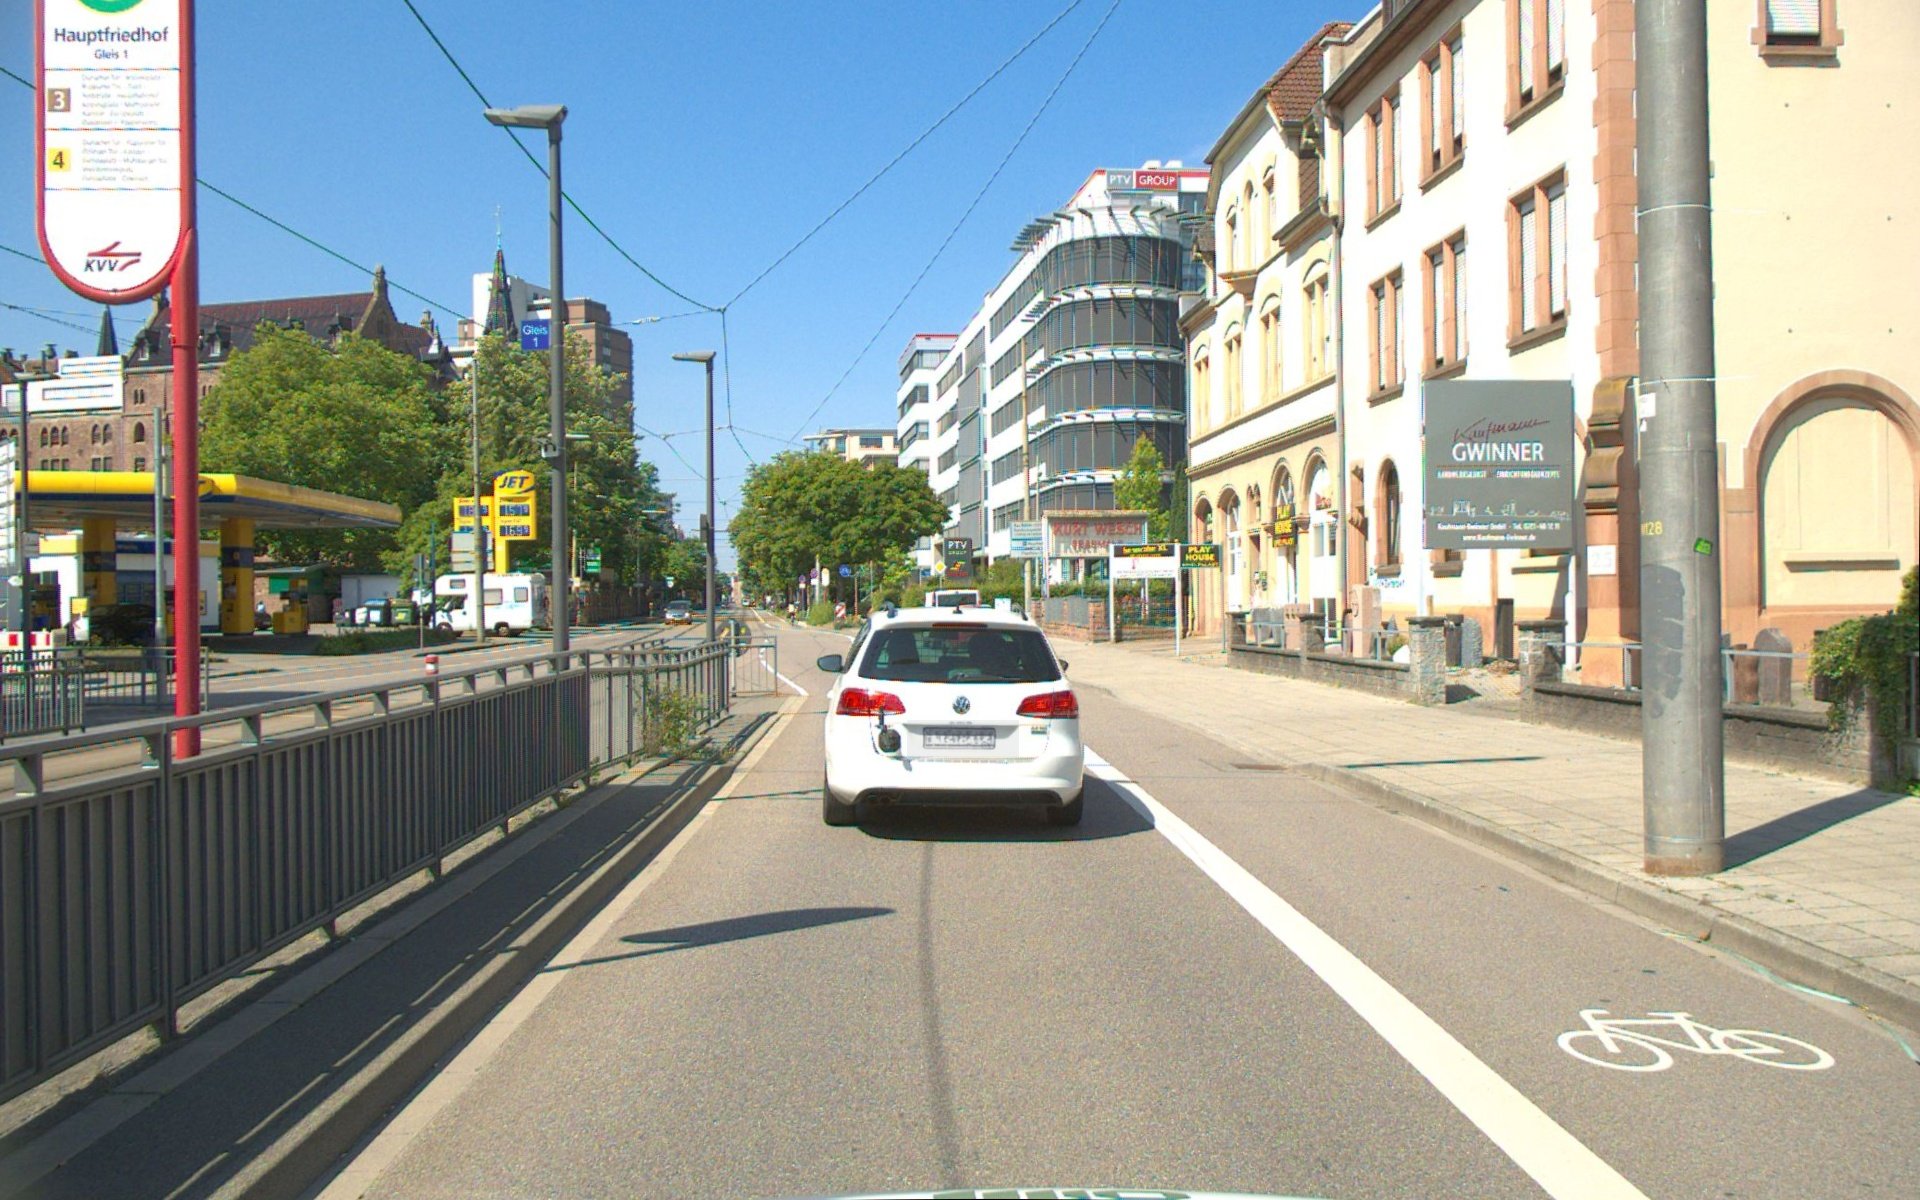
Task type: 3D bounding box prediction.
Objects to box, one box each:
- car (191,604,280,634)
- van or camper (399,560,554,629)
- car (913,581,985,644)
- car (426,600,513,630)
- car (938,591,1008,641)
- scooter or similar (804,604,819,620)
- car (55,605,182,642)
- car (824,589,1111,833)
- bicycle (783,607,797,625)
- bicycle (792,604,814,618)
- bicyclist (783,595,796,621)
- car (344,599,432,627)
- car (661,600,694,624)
[{"bbox_3d":[-38.013,1.000,86.802,4.070,1.554,1.938,0,-1,18],"label":"car"},{"bbox_3d":[-23.147,-0.236,79.377,6.553,3.019,2.616,2,-1,1],"label":"van or camper"},{"bbox_3d":[-0.436,0.423,59.730,1.939,2.090,5.183,-3,0,-7],"label":"car"},{"bbox_3d":[-28.011,0.821,94.515,1.911,1.653,4.560,-1,0,36],"label":"car"},{"bbox_3d":[0.378,0.496,53.534,1.689,1.468,4.306,-3,0,-7],"label":"car"},{"bbox_3d":[-11.228,0.899,125.059,1.120,1.174,0.493,0,0,-2],"label":"scooter or similar"},{"bbox_3d":[-31.710,0.872,62.456,1.661,1.326,4.392,1,0,17],"label":"car"},{"bbox_3d":[-0.125,0.658,12.247,1.719,1.467,4.408,0,0,-5],"label":"car"},{"bbox_3d":[-10.778,1.019,104.799,0.795,1.097,2.009,0,0,-7],"label":"bicycle"},{"bbox_3d":[-13.082,0.933,137.848,1.742,1.102,0.595,-1,0,-10],"label":"bicycle"},{"bbox_3d":[-10.837,0.506,105.152,0.771,1.658,0.737,1,-1,-7],"label":"bicyclist"},{"bbox_3d":[-33.245,0.745,96.197,1.911,1.611,4.559,-1,0,37],"label":"car"},{"bbox_3d":[-19.471,0.845,114.024,1.711,1.598,3.889,-2,-1,-2],"label":"car"}]
